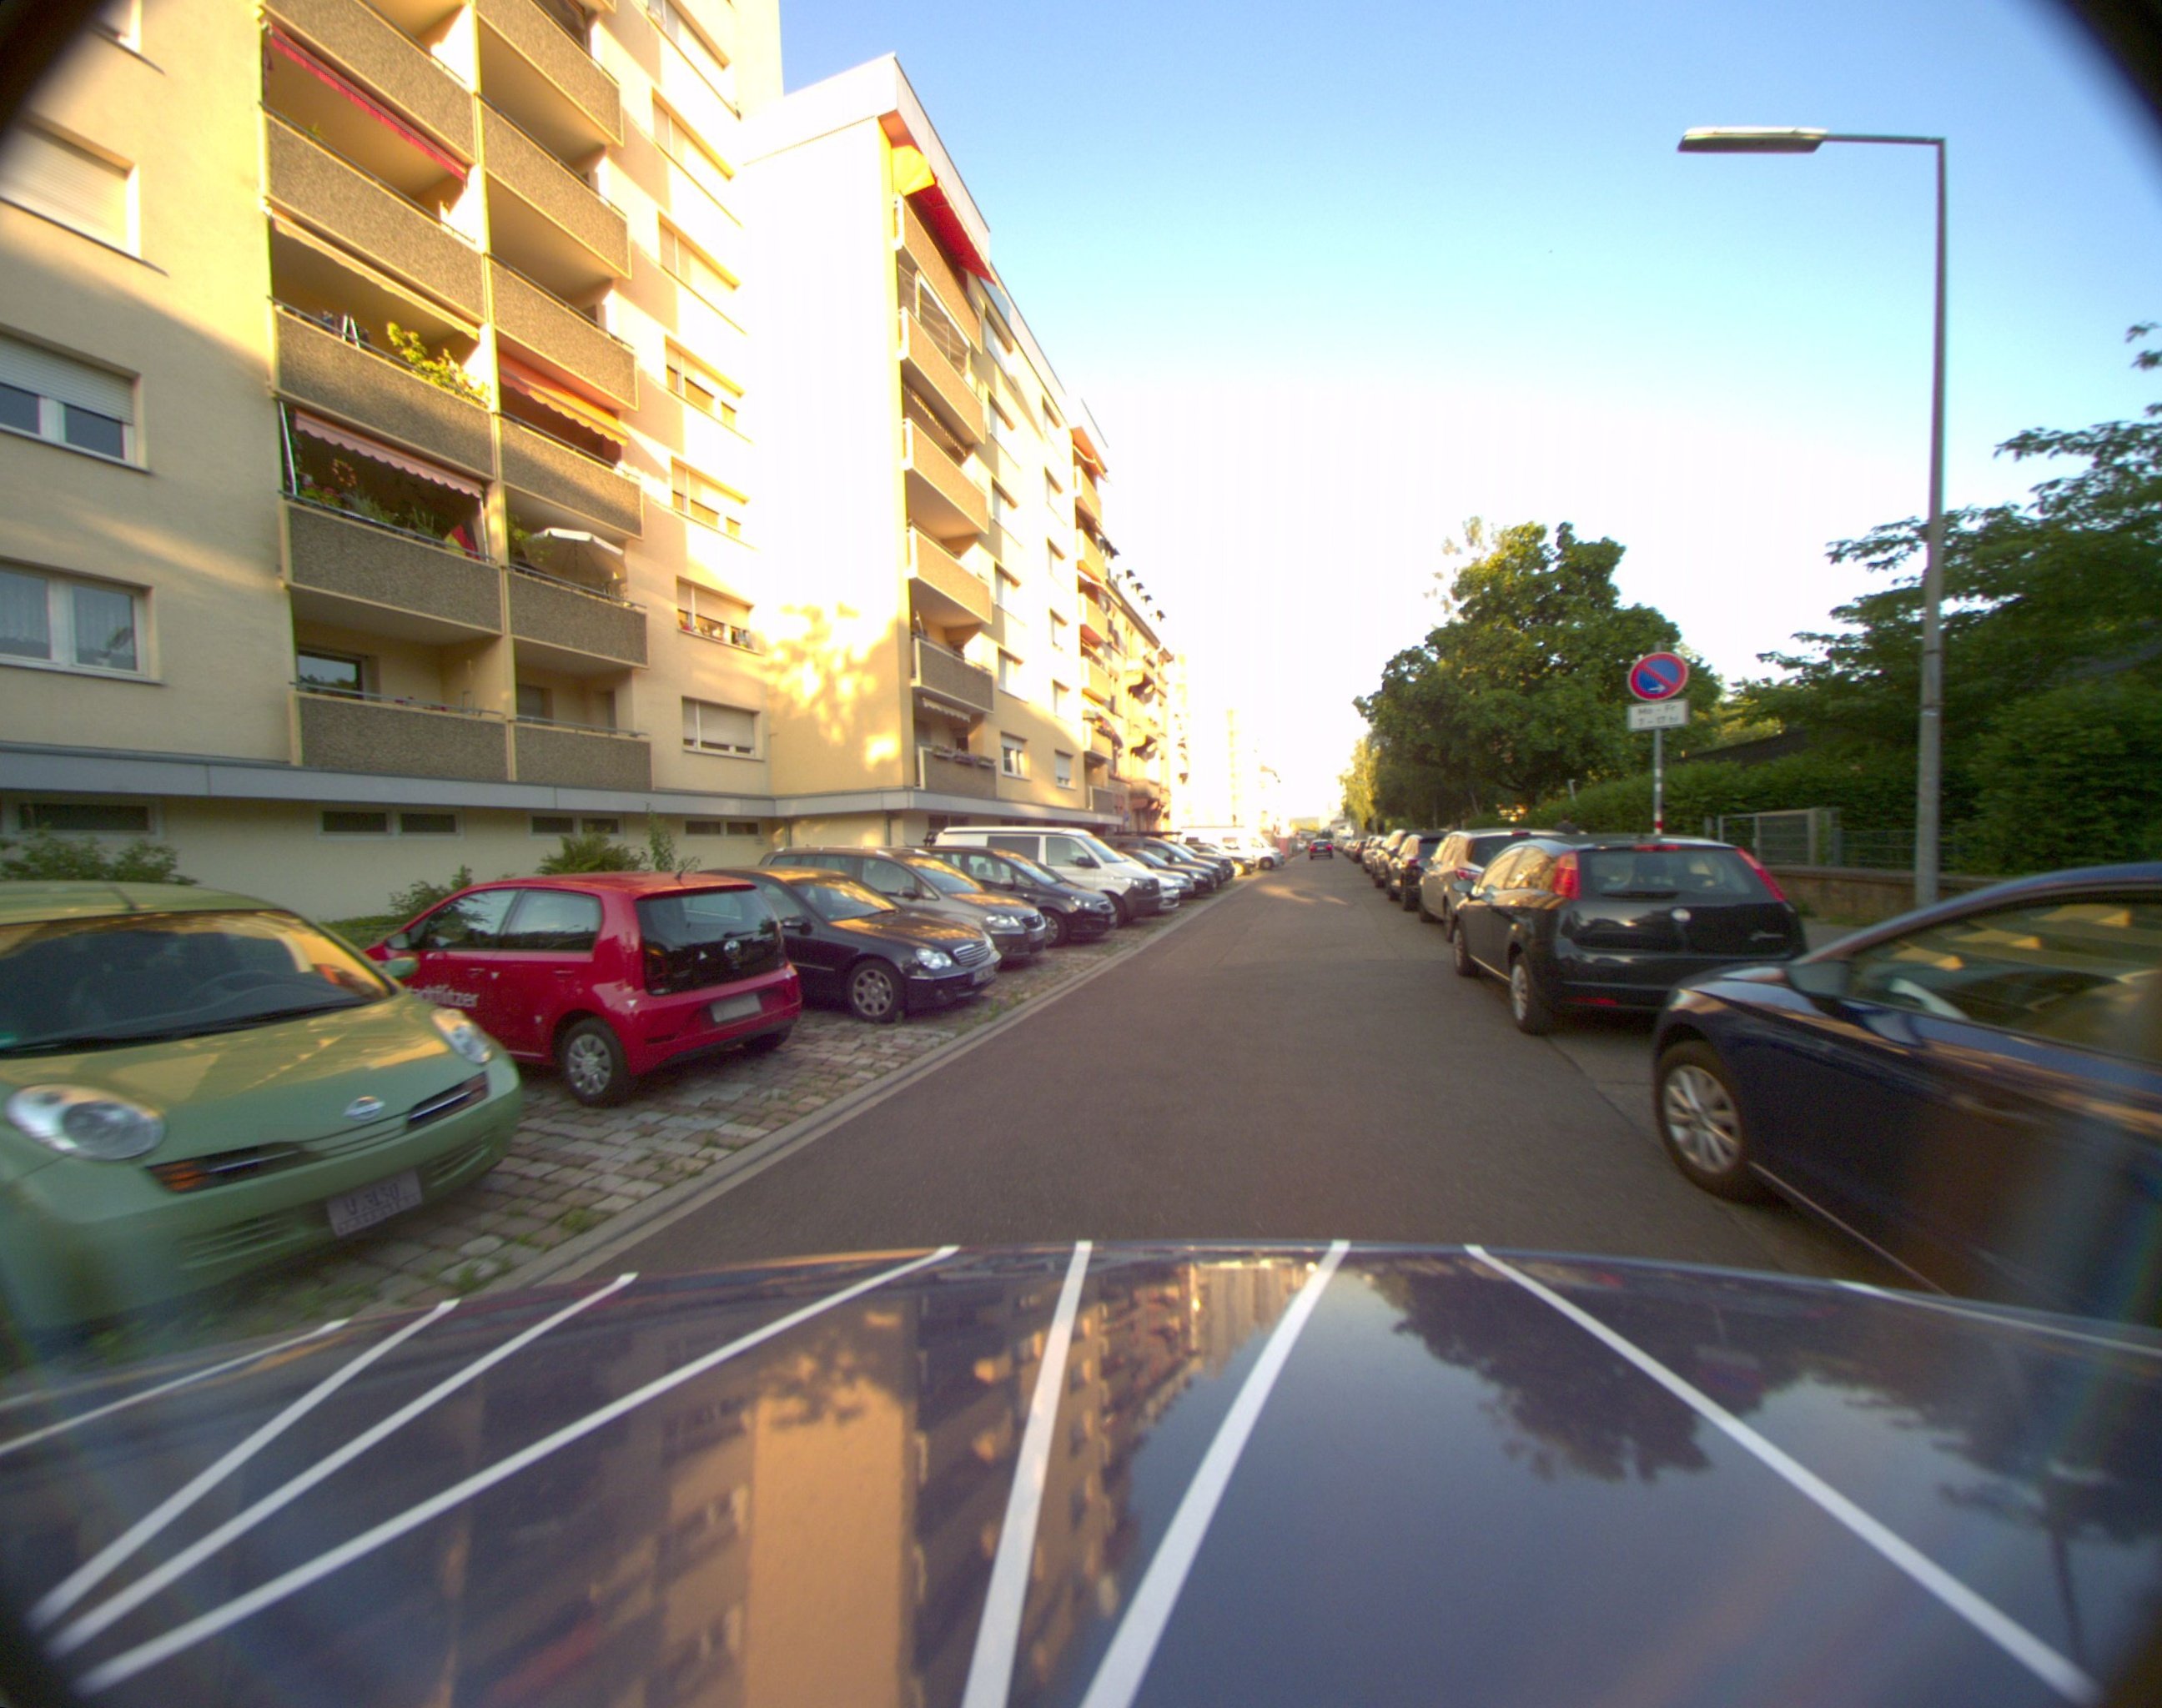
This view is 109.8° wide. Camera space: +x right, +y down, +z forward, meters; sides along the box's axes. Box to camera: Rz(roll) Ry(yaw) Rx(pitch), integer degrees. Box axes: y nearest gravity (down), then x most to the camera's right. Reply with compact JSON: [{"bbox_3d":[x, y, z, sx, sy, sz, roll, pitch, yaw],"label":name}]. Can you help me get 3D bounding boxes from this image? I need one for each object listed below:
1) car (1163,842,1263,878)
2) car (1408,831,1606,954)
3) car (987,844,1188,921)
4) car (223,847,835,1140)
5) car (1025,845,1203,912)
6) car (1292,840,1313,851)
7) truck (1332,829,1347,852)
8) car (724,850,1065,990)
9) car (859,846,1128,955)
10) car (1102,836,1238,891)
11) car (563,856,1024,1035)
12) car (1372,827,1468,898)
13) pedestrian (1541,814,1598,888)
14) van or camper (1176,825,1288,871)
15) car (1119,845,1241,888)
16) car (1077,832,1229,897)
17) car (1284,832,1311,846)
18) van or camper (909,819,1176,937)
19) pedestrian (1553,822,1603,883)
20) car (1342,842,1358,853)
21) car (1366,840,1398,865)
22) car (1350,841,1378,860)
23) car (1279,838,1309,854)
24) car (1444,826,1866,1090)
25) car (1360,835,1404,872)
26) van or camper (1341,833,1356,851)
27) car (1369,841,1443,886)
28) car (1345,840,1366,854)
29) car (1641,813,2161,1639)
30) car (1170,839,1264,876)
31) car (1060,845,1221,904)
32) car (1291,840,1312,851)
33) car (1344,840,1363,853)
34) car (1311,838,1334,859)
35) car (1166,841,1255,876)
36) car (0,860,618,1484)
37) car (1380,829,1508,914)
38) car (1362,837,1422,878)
[{"bbox_3d":[6.281,0.283,36.125,4.408,1.545,1.847,-1,3,19],"label":"car"},{"bbox_3d":[6.329,0.474,11.808,1.736,1.558,4.134,-1,1,15],"label":"car"},{"bbox_3d":[0.180,0.659,18.175,4.409,1.622,1.847,-1,3,18],"label":"car"},{"bbox_3d":[-4.416,0.819,6.146,4.407,1.622,1.848,2,2,20],"label":"car"},{"bbox_3d":[0.915,0.638,20.467,4.409,1.584,1.847,-1,3,18],"label":"car"},{"bbox_3d":[45.426,-1.801,155.534,3.992,2.002,2.002,-3,0,18],"label":"car"},{"bbox_3d":[44.187,-2.321,130.006,2.180,3.860,4.932,-3,0,18],"label":"truck"},{"bbox_3d":[-2.618,0.821,10.984,4.409,1.652,1.847,0,3,16],"label":"car"},{"bbox_3d":[-1.490,0.719,13.387,4.331,1.652,1.783,0,3,16],"label":"car"},{"bbox_3d":[3.216,0.331,27.175,4.518,1.852,1.848,-1,1,18],"label":"car"},{"bbox_3d":[-3.046,0.863,8.309,4.409,1.523,1.847,-1,3,16],"label":"car"},{"bbox_3d":[9.110,0.199,20.733,1.736,1.720,4.327,-1,1,15],"label":"car"},{"bbox_3d":[12.090,-0.079,18.832,0.900,1.722,0.751,-5,0,17],"label":"pedestrian"},{"bbox_3d":[8.701,-0.329,43.705,6.066,2.490,2.053,-1,1,18],"label":"van or camper"},{"bbox_3d":[3.888,0.482,29.849,4.408,1.545,1.847,-1,3,20],"label":"car"},{"bbox_3d":[2.397,0.354,25.056,4.642,1.970,1.847,-1,3,18],"label":"car"},{"bbox_3d":[34.717,-2.393,122.026,3.992,2.002,2.002,-3,0,18],"label":"car"},{"bbox_3d":[-0.773,0.392,15.820,5.139,2.156,2.042,1,2,16],"label":"van or camper"},{"bbox_3d":[12.964,-0.033,19.849,0.749,1.499,0.903,-5,0,16],"label":"pedestrian"},{"bbox_3d":[33.043,-0.793,93.393,1.735,1.358,4.296,-1,1,17],"label":"car"},{"bbox_3d":[18.264,-0.097,46.159,1.621,1.417,3.420,-1,1,18],"label":"car"},{"bbox_3d":[21.496,-0.280,57.752,1.735,1.417,3.809,-1,1,17],"label":"car"},{"bbox_3d":[31.338,-1.169,111.788,3.992,2.002,2.002,-3,0,18],"label":"car"},{"bbox_3d":[4.343,0.602,6.488,1.735,1.558,3.701,-1,1,17],"label":"car"},{"bbox_3d":[14.174,-0.043,35.949,1.735,1.622,3.985,-1,1,19],"label":"car"},{"bbox_3d":[36.642,-1.605,104.175,1.822,2.401,4.296,-1,1,17],"label":"van or camper"},{"bbox_3d":[11.008,0.279,26.003,1.736,1.418,4.291,-1,1,15],"label":"car"},{"bbox_3d":[27.422,-0.699,76.023,1.735,1.358,4.296,-1,1,17],"label":"car"},{"bbox_3d":[2.928,0.685,1.440,1.736,1.558,3.794,-1,1,15],"label":"car"},{"bbox_3d":[6.911,0.162,38.626,4.407,1.739,1.848,-1,3,22],"label":"car"},{"bbox_3d":[1.794,0.603,22.562,4.409,1.554,1.847,-1,3,18],"label":"car"},{"bbox_3d":[44.505,-1.741,153.280,3.992,2.002,2.002,-3,0,18],"label":"car"},{"bbox_3d":[29.372,-0.803,81.875,1.735,1.358,4.296,-1,1,17],"label":"car"},{"bbox_3d":[20.149,-0.458,63.409,1.735,1.622,4.130,-1,1,18],"label":"car"},{"bbox_3d":[7.046,0.254,41.252,4.409,1.610,1.847,-3,2,20],"label":"car"},{"bbox_3d":[-4.760,0.926,3.548,4.409,1.622,1.847,-1,3,16],"label":"car"},{"bbox_3d":[7.573,0.311,16.230,1.736,1.558,4.172,-1,1,15],"label":"car"},{"bbox_3d":[12.571,0.114,30.931,1.761,1.534,4.285,-1,1,15],"label":"car"}]
